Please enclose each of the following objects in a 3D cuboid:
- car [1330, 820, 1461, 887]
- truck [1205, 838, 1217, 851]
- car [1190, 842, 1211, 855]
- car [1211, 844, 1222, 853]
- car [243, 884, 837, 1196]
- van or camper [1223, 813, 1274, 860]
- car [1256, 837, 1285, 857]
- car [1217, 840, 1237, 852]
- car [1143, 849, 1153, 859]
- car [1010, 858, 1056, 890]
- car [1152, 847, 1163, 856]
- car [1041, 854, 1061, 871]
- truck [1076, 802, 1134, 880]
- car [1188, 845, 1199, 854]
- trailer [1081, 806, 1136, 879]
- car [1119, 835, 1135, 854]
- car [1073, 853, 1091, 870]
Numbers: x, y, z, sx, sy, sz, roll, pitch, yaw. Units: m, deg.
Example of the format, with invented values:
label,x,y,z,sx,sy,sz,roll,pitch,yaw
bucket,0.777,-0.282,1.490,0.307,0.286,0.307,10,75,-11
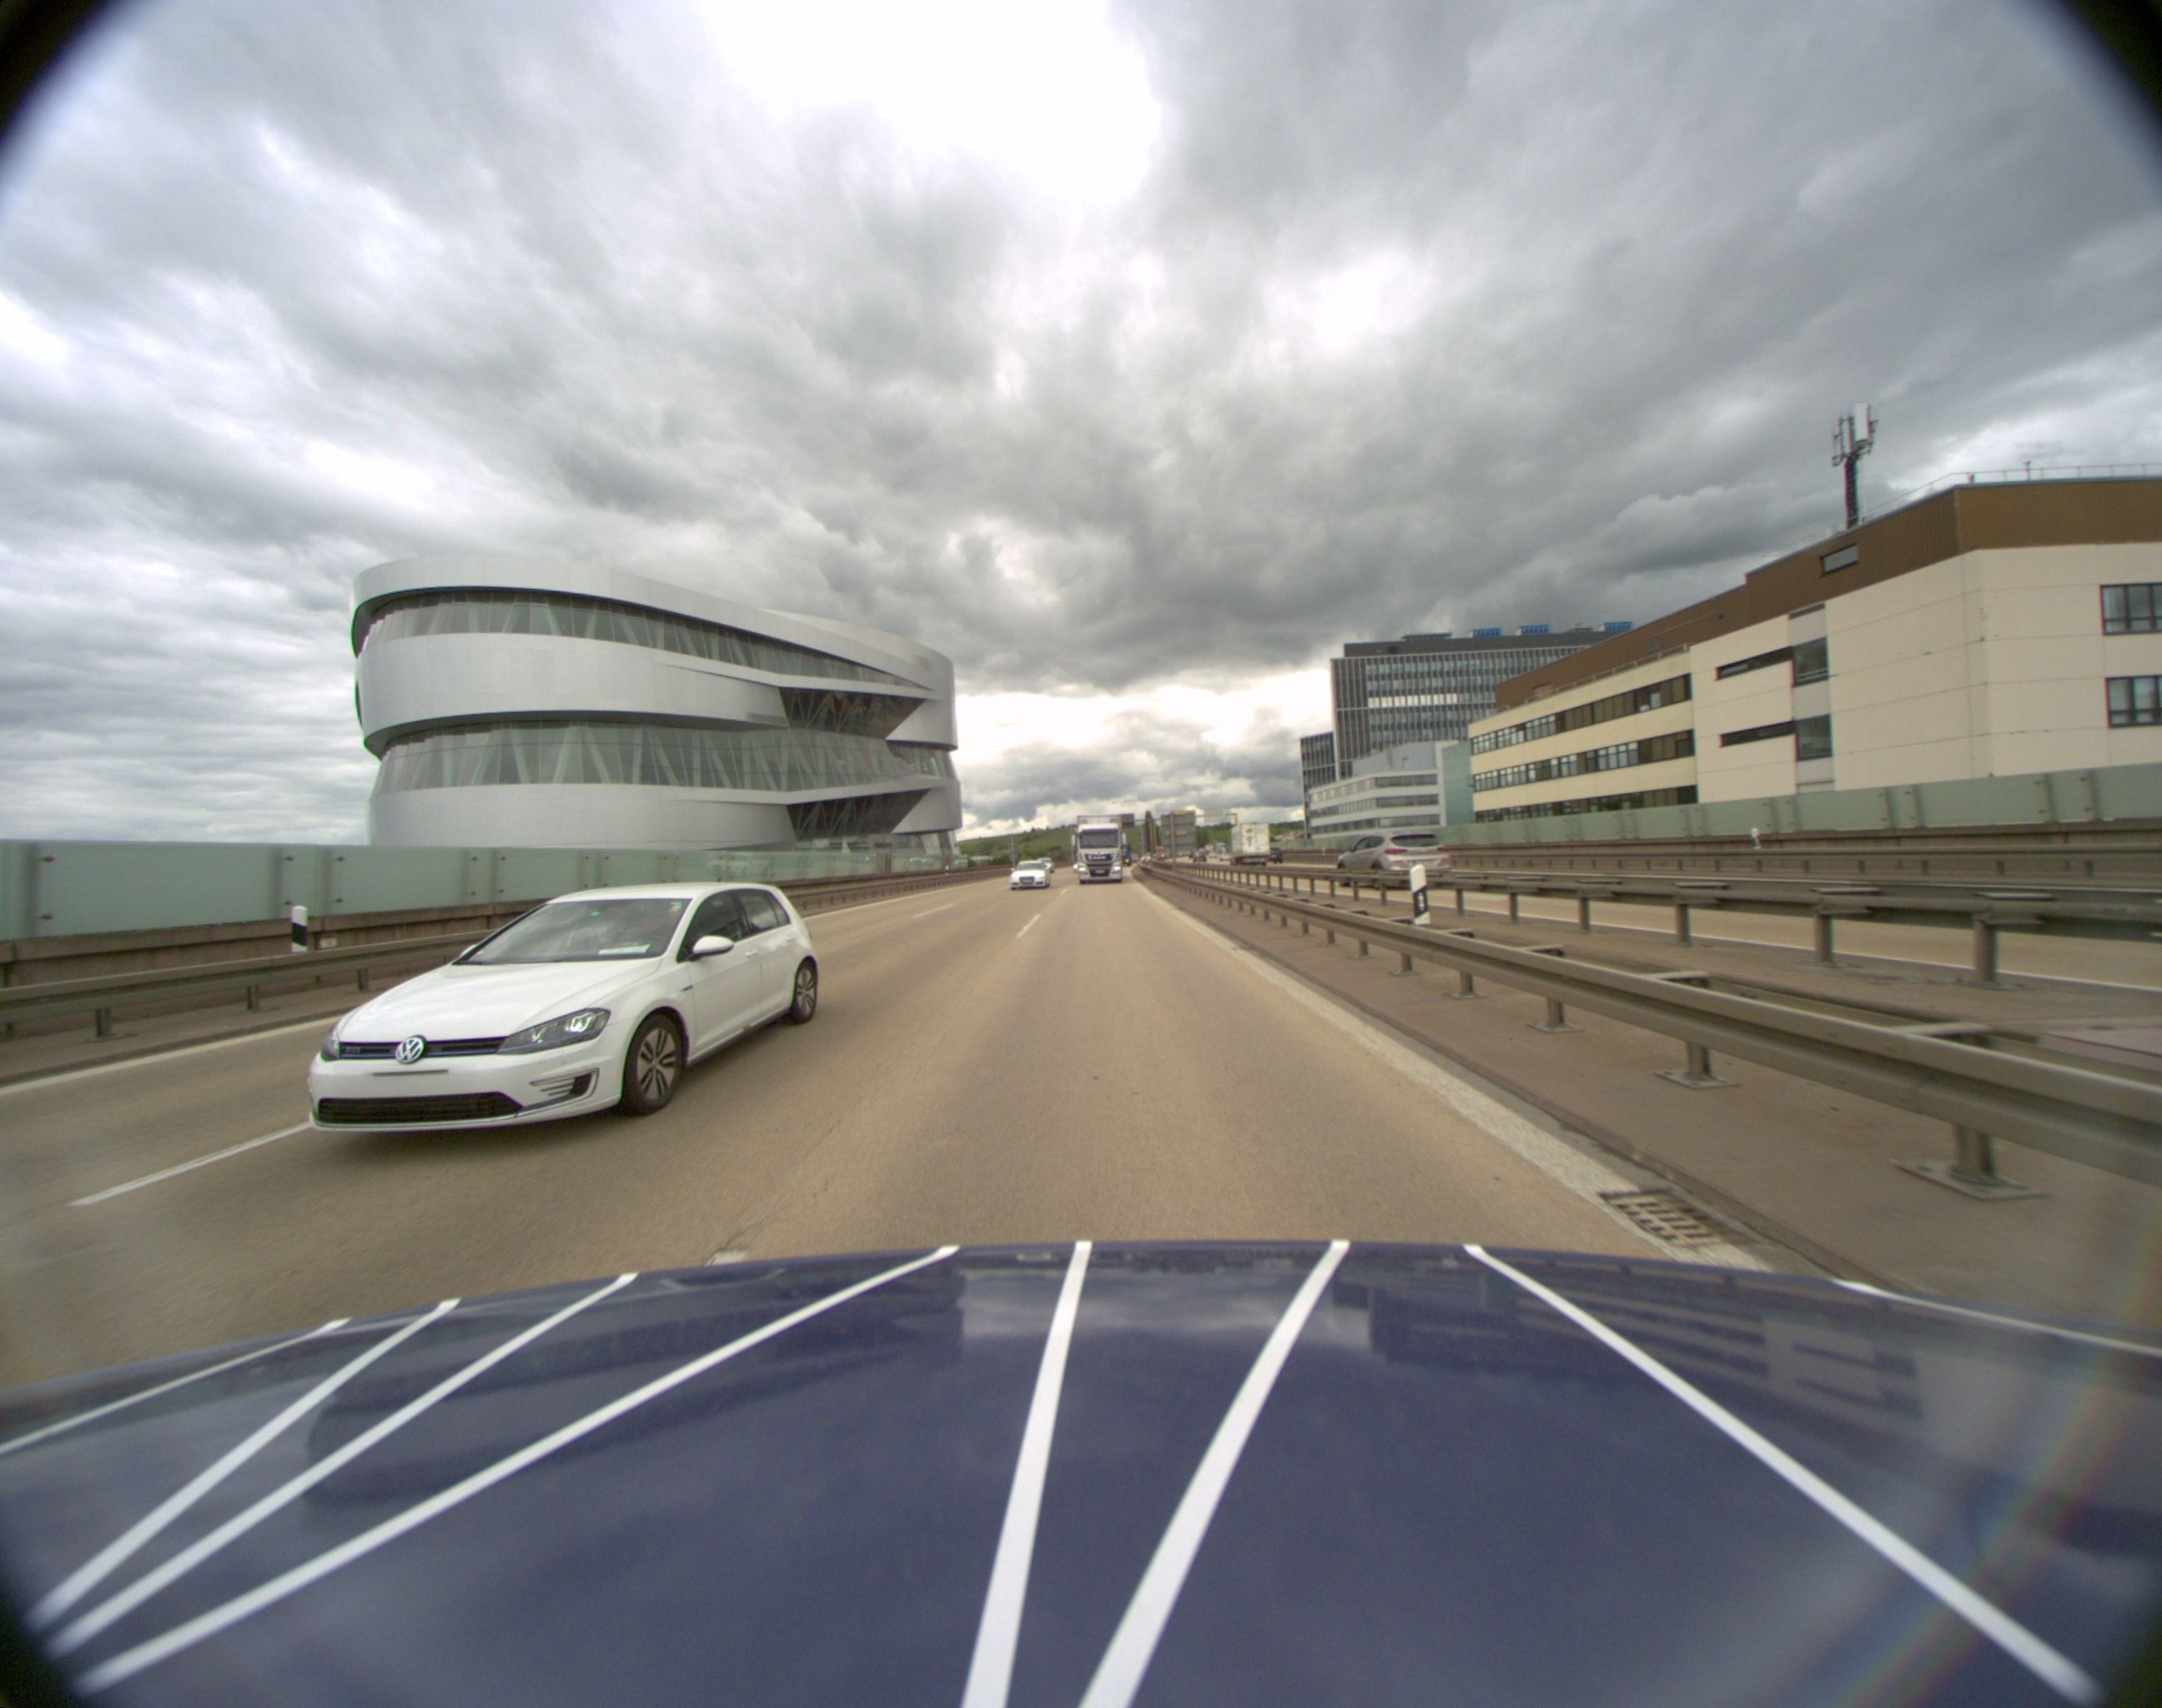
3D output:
label,x,y,z,sx,sy,sz,roll,pitch,yaw
car,8.854,-0.014,21.859,1.849,1.663,4.407,-2,0,0
truck,39.925,-2.852,232.647,3.267,3.836,13.061,-3,0,10
car,16.365,-0.731,104.083,2.027,1.602,4.813,-2,0,-1
car,26.503,-1.028,148.937,1.687,1.587,3.686,-2,0,3
car,-3.526,1.073,6.072,1.759,1.443,4.072,-2,0,1
van or camper,13.097,-1.318,59.974,2.411,3.368,6.954,-2,1,0
car,17.450,-0.649,70.067,1.758,1.737,4.370,-2,0,4
car,19.909,-1.041,103.874,1.922,1.602,4.814,-2,0,2
car,14.551,0.007,164.722,1.998,2.002,4.001,-2,1,4
car,-2.429,0.979,39.257,1.847,1.443,3.933,-3,0,3
car,19.459,-0.697,192.381,1.996,2.002,4.004,-2,1,16
car,-3.174,0.877,81.088,1.785,1.624,3.627,-2,1,2
truck,1.537,-0.711,44.431,2.945,4.136,6.292,-2,0,4
car,21.898,-0.860,147.829,1.757,1.609,4.818,-2,0,10
trailer,1.981,-0.696,49.649,2.879,4.104,11.223,-2,0,5
car,6.442,-1.301,106.808,2.144,2.494,4.524,-2,1,2
car,0.102,0.796,81.019,1.765,1.624,3.627,-2,1,2
